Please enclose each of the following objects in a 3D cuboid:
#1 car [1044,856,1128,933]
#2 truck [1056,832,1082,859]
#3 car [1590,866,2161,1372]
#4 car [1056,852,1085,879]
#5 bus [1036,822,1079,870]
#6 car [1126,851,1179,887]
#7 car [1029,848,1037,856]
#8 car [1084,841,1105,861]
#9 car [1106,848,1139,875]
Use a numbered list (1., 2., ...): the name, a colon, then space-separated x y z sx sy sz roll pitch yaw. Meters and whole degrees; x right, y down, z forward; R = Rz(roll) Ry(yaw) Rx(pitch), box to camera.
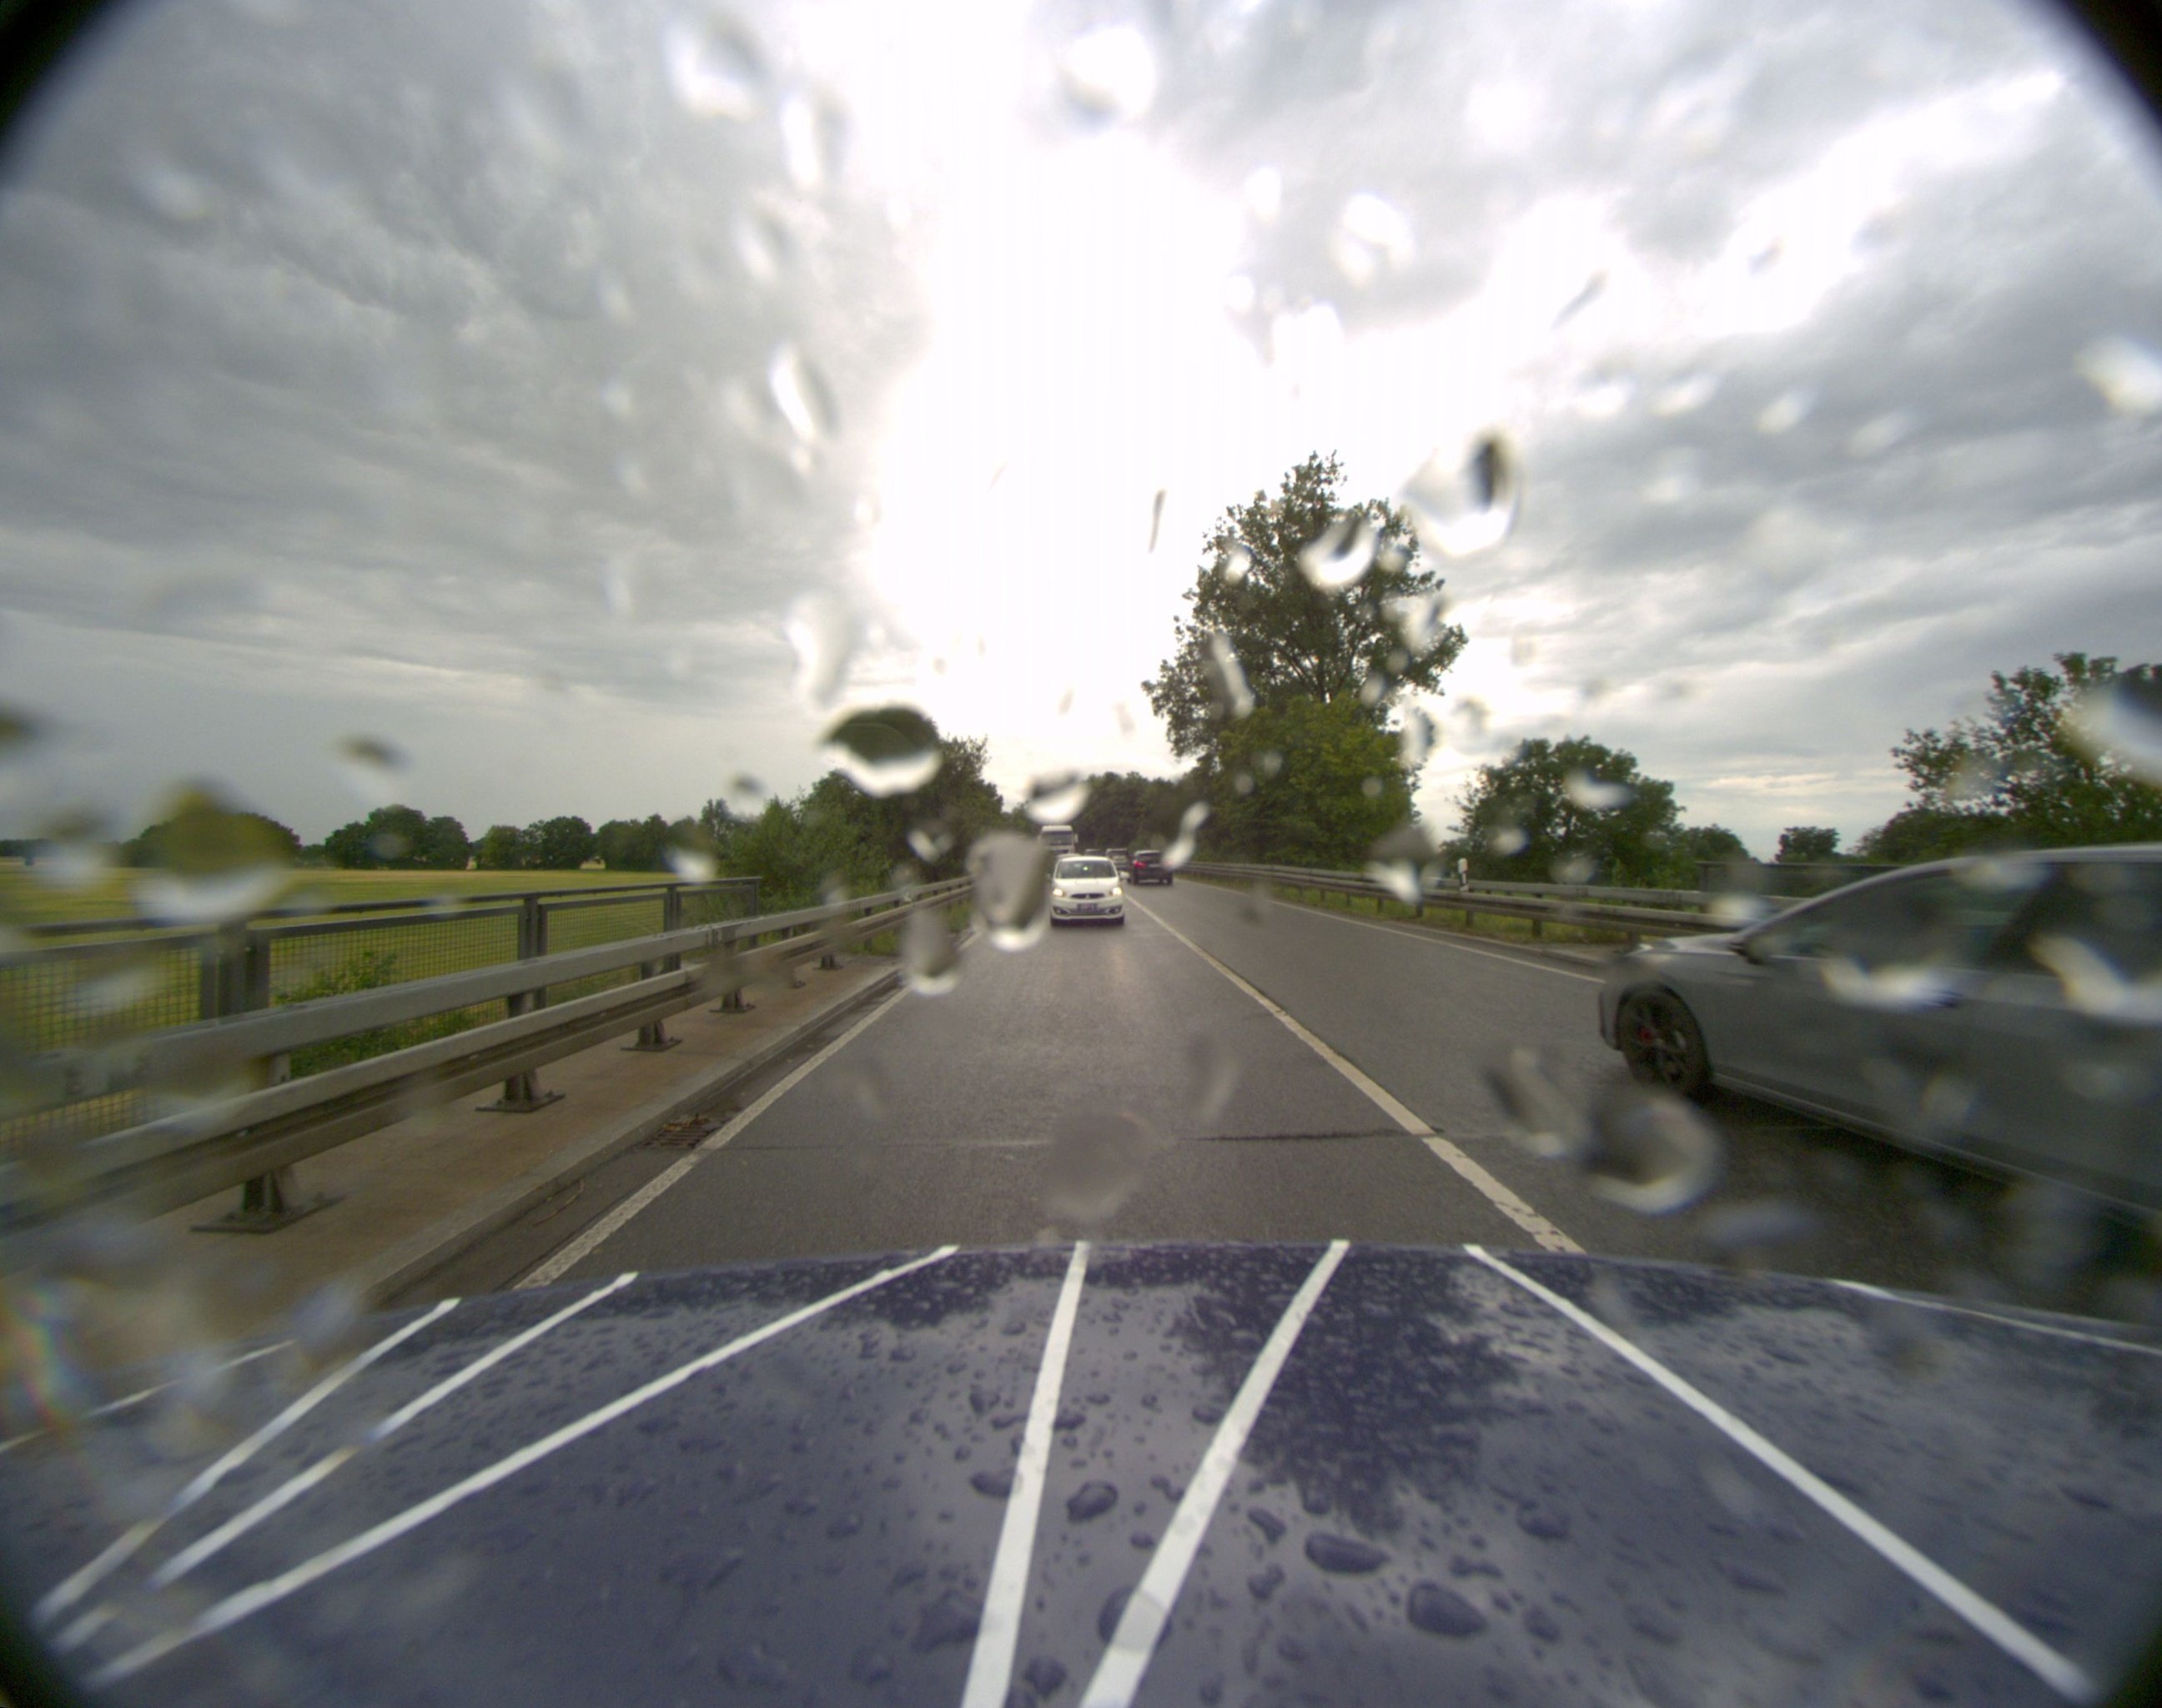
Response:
1. car: 0.106 0.846 17.760 1.701 1.471 4.062 -2 1 0
2. truck: -1.785 -1.298 107.091 2.778 3.410 9.180 -4 2 -5
3. car: 4.194 0.830 2.832 1.839 1.435 4.103 -2 0 0
4. car: -0.535 0.615 41.364 1.476 1.410 3.428 -1 0 0
5. bus: -2.070 -0.638 62.727 3.064 3.405 13.635 -2 1 -3
6. car: 3.285 0.669 35.793 1.904 1.532 4.022 -2 0 -3
7. car: -8.350 -0.335 131.545 1.393 1.470 3.226 -1 1 -5
8. car: 1.196 -0.252 68.461 1.750 1.644 4.524 -2 0 -1
9. car: 2.775 0.504 51.225 1.846 1.690 4.388 -2 0 -1
